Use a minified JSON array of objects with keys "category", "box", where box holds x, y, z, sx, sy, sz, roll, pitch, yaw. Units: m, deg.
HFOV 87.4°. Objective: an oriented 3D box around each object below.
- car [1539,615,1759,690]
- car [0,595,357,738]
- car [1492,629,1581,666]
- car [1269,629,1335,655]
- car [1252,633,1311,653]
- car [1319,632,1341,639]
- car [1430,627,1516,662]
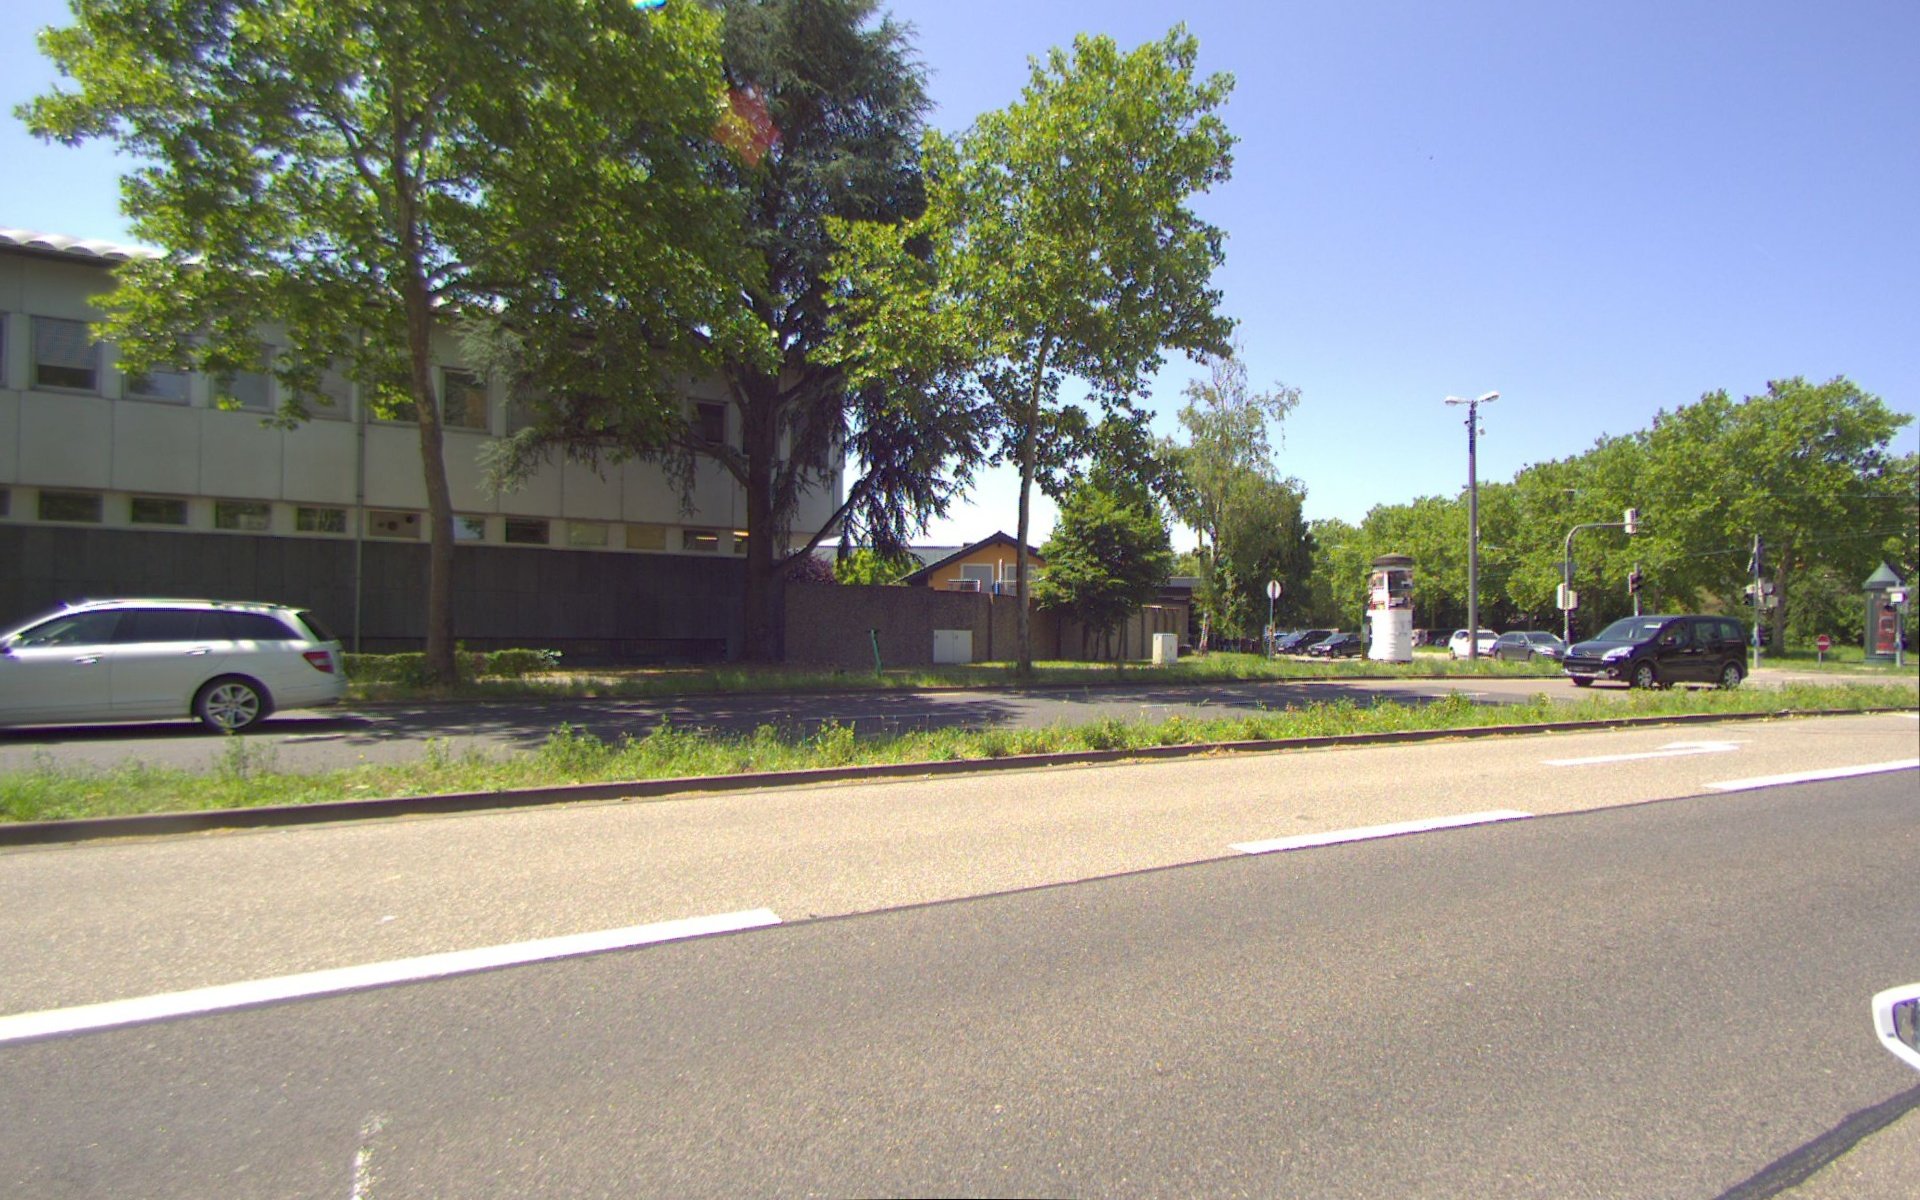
[{"category":"car","box":[16.605,1.244,24.291,4.366,1.701,1.914,1,-1,-12]},{"category":"car","box":[-9.476,0.705,11.330,4.493,1.437,1.845,1,-2,-30]},{"category":"car","box":[25.032,2.036,43.785,1.729,1.476,3.994,0,-1,2]},{"category":"car","box":[22.723,2.784,66.791,4.138,1.672,1.773,1,-2,-26]},{"category":"car","box":[24.369,3.253,76.154,4.004,1.442,1.936,1,-2,-24]},{"category":"car","box":[49.818,4.777,135.308,2.667,1.007,1.009,1,-1,-1]},{"category":"car","box":[25.647,2.203,50.425,2.172,1.626,4.463,0,-1,2]}]
